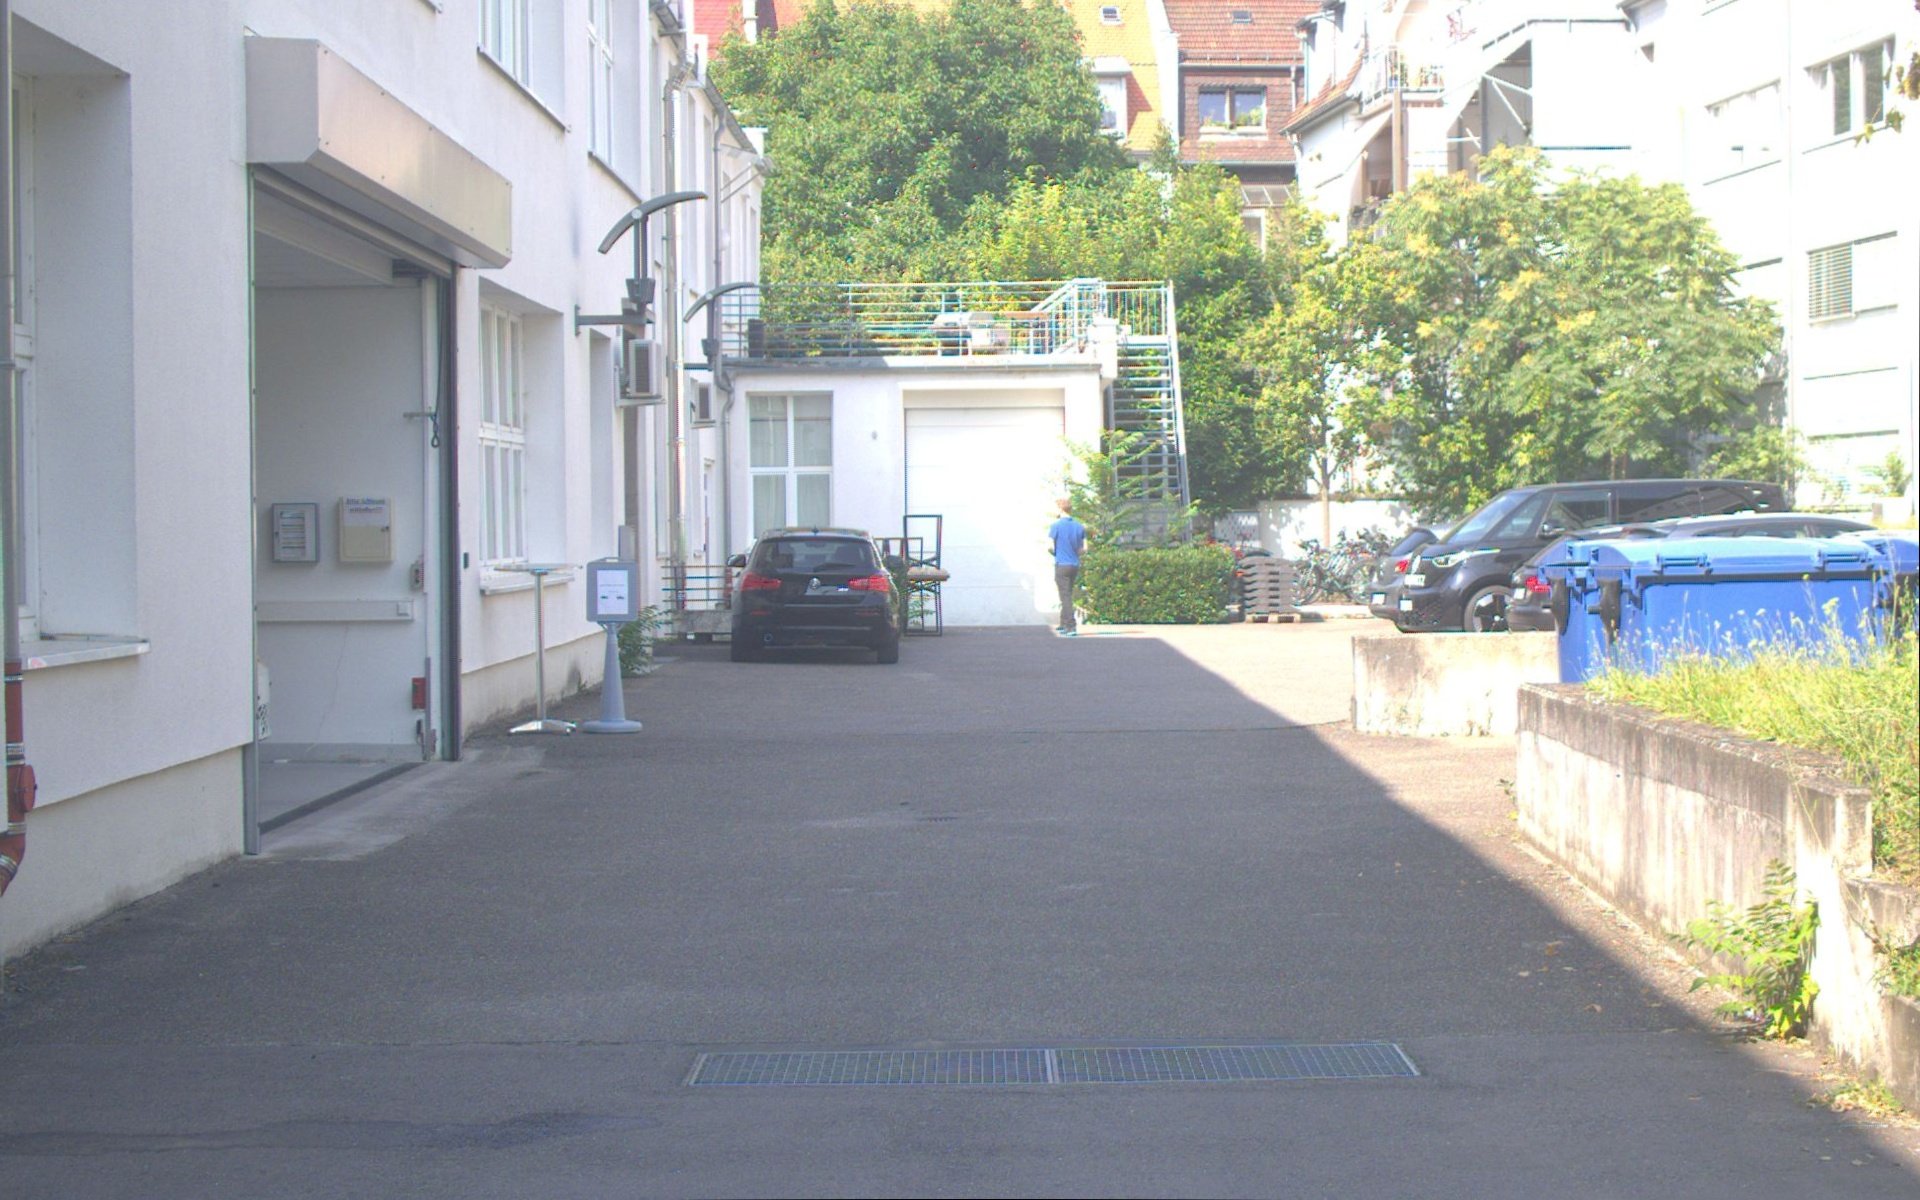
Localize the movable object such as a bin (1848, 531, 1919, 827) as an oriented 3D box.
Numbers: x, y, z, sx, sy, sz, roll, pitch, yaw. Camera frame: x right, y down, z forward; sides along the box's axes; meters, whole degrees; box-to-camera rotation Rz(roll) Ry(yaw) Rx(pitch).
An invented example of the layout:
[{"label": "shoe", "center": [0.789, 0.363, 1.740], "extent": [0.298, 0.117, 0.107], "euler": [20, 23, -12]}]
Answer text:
[{"label": "movable object such as a bin", "center": [4.917, 0.352, 16.029], "extent": [1.226, 1.336, 1.077], "euler": [0, 1, -4]}]

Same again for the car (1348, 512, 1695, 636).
[{"label": "car", "center": [7.027, -0.325, 43.220], "extent": [3.931, 1.477, 1.775], "euler": [-1, 0, -8]}]

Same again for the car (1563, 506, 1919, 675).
[{"label": "car", "center": [7.982, -0.099, 33.296], "extent": [3.861, 1.583, 1.880], "euler": [0, 1, -4]}]

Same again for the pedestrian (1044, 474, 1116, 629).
[{"label": "pedestrian", "center": [1.555, -0.631, 44.742], "extent": [0.914, 2.007, 0.935], "euler": [0, 1, 1]}]

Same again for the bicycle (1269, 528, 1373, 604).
[{"label": "bicycle", "center": [5.883, -0.555, 56.039], "extent": [1.623, 1.210, 0.424], "euler": [-1, 1, 0]}]

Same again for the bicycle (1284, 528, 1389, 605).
[{"label": "bicycle", "center": [6.065, -0.546, 55.359], "extent": [1.624, 1.210, 0.327], "euler": [-1, 1, 14]}]

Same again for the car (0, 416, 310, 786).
[{"label": "car", "center": [-6.464, -0.061, 20.542], "extent": [4.747, 2.085, 2.056], "euler": [1, 3, 1]}]

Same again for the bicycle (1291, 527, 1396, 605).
[{"label": "bicycle", "center": [6.140, -0.540, 54.993], "extent": [1.624, 1.210, 0.327], "euler": [-1, 1, 11]}]

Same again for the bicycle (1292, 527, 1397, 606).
[{"label": "bicycle", "center": [6.100, -0.534, 54.543], "extent": [1.623, 1.210, 0.327], "euler": [-1, 1, 2]}]

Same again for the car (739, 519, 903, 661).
[{"label": "car", "center": [-1.464, -0.131, 37.339], "extent": [1.688, 1.454, 3.923], "euler": [0, 1, -1]}]

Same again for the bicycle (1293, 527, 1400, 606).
[{"label": "bicycle", "center": [6.057, -0.526, 53.928], "extent": [1.623, 1.210, 0.327], "euler": [-1, 1, 2]}]

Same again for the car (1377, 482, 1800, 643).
[{"label": "car", "center": [7.333, -0.443, 40.327], "extent": [4.499, 1.788, 1.883], "euler": [-1, 0, -8]}]

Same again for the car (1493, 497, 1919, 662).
[{"label": "car", "center": [7.814, -0.218, 36.117], "extent": [4.116, 1.686, 1.771], "euler": [0, 1, -2]}]

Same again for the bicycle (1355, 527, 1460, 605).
[{"label": "bicycle", "center": [7.143, -0.537, 54.875], "extent": [1.624, 1.210, 0.327], "euler": [-1, 1, 16]}]

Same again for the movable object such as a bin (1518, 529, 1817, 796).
[{"label": "movable object such as a bin", "center": [3.639, 0.307, 17.810], "extent": [1.300, 1.336, 1.195], "euler": [0, 1, 0]}]

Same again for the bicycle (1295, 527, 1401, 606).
[{"label": "bicycle", "center": [6.126, -0.530, 54.248], "extent": [1.623, 1.210, 0.327], "euler": [-1, 1, 2]}]

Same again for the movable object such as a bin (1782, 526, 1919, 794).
[{"label": "movable object such as a bin", "center": [4.965, 0.293, 17.745], "extent": [1.235, 1.336, 1.117], "euler": [0, 1, 4]}]

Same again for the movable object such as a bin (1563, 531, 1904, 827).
[{"label": "movable object such as a bin", "center": [3.586, 0.349, 16.058], "extent": [1.309, 1.336, 1.100], "euler": [0, 1, -2]}]
